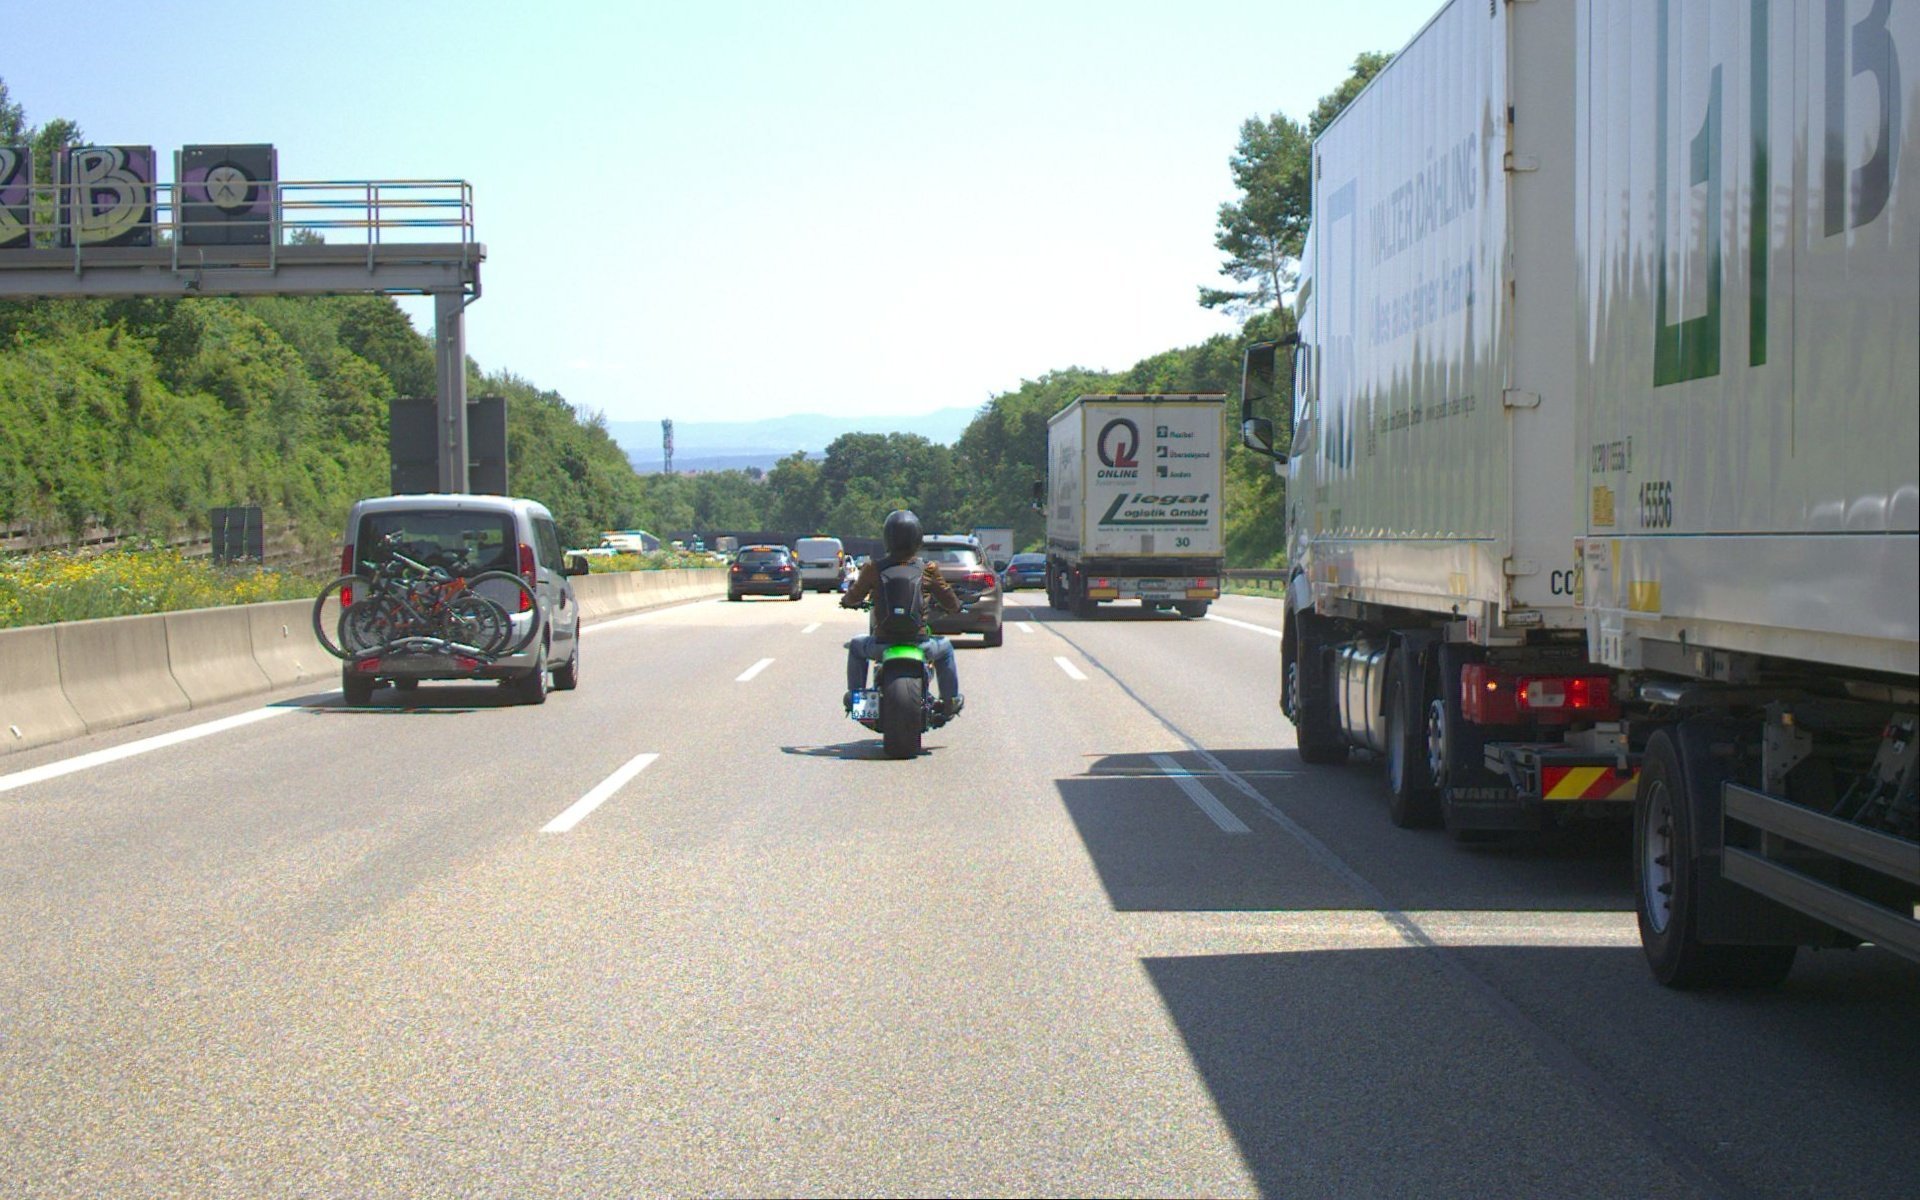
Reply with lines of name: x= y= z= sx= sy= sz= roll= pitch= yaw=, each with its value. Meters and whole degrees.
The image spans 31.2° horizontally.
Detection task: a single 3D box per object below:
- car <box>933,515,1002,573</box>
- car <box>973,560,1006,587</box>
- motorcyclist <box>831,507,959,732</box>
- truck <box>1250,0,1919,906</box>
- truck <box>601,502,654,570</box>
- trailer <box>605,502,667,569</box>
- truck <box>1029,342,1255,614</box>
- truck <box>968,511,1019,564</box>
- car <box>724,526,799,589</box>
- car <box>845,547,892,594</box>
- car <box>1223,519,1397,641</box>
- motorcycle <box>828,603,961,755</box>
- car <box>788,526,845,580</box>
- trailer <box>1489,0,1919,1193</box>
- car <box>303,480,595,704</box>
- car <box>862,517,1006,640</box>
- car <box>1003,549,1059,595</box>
car: x=0.194 y=-1.572 z=95.121 sx=1.831 sy=1.553 sz=4.120 roll=0 pitch=2 yaw=-1
car: x=1.699 y=-1.563 z=201.205 sx=1.831 sy=1.521 sz=4.027 roll=0 pitch=2 yaw=-1
motorcyclist: x=-0.437 y=0.126 z=23.622 sx=0.856 sy=1.510 sz=0.914 roll=0 pitch=1 yaw=0
truck: x=3.466 y=-0.898 z=19.217 sx=2.680 sy=4.045 sz=10.626 roll=0 pitch=1 yaw=0
truck: x=-20.104 y=-3.899 z=207.954 sx=2.680 sy=4.017 sz=5.931 roll=-1 pitch=1 yaw=-1
trailer: x=-20.203 y=-4.039 z=215.133 sx=2.680 sy=4.001 sz=14.189 roll=-1 pitch=1 yaw=-1
truck: x=3.374 y=-2.333 z=69.293 sx=3.383 sy=4.702 sz=17.710 roll=1 pitch=1 yaw=0
truck: x=2.155 y=-4.097 z=224.944 sx=3.067 sy=3.335 sz=9.652 roll=1 pitch=1 yaw=0
car: x=-5.138 y=-1.124 z=89.307 sx=1.758 sy=1.538 sz=4.395 roll=0 pitch=2 yaw=-1
car: x=-3.691 y=-1.207 z=138.528 sx=1.831 sy=1.804 sz=4.120 roll=0 pitch=2 yaw=-1
car: x=4.690 y=-0.311 z=46.663 sx=1.845 sy=1.552 sz=4.393 roll=0 pitch=2 yaw=-1
motorcycle: x=-0.436 y=0.522 z=23.807 sx=0.862 sy=0.978 sz=2.131 roll=0 pitch=1 yaw=0
car: x=-4.933 y=-1.637 z=118.356 sx=1.831 sy=1.804 sz=4.120 roll=0 pitch=2 yaw=-1
trailer: x=3.549 y=-0.728 z=8.802 sx=2.680 sy=4.161 sz=10.066 roll=0 pitch=1 yaw=-1
car: x=-4.517 y=-0.100 z=31.179 sx=1.898 sy=1.841 sz=5.483 roll=0 pitch=1 yaw=-1
car: x=-0.360 y=-0.330 z=46.462 sx=1.845 sy=1.552 sz=4.440 roll=0 pitch=2 yaw=-1
car: x=2.512 y=-1.007 z=121.706 sx=1.831 sy=1.521 sz=4.027 roll=0 pitch=2 yaw=-1
